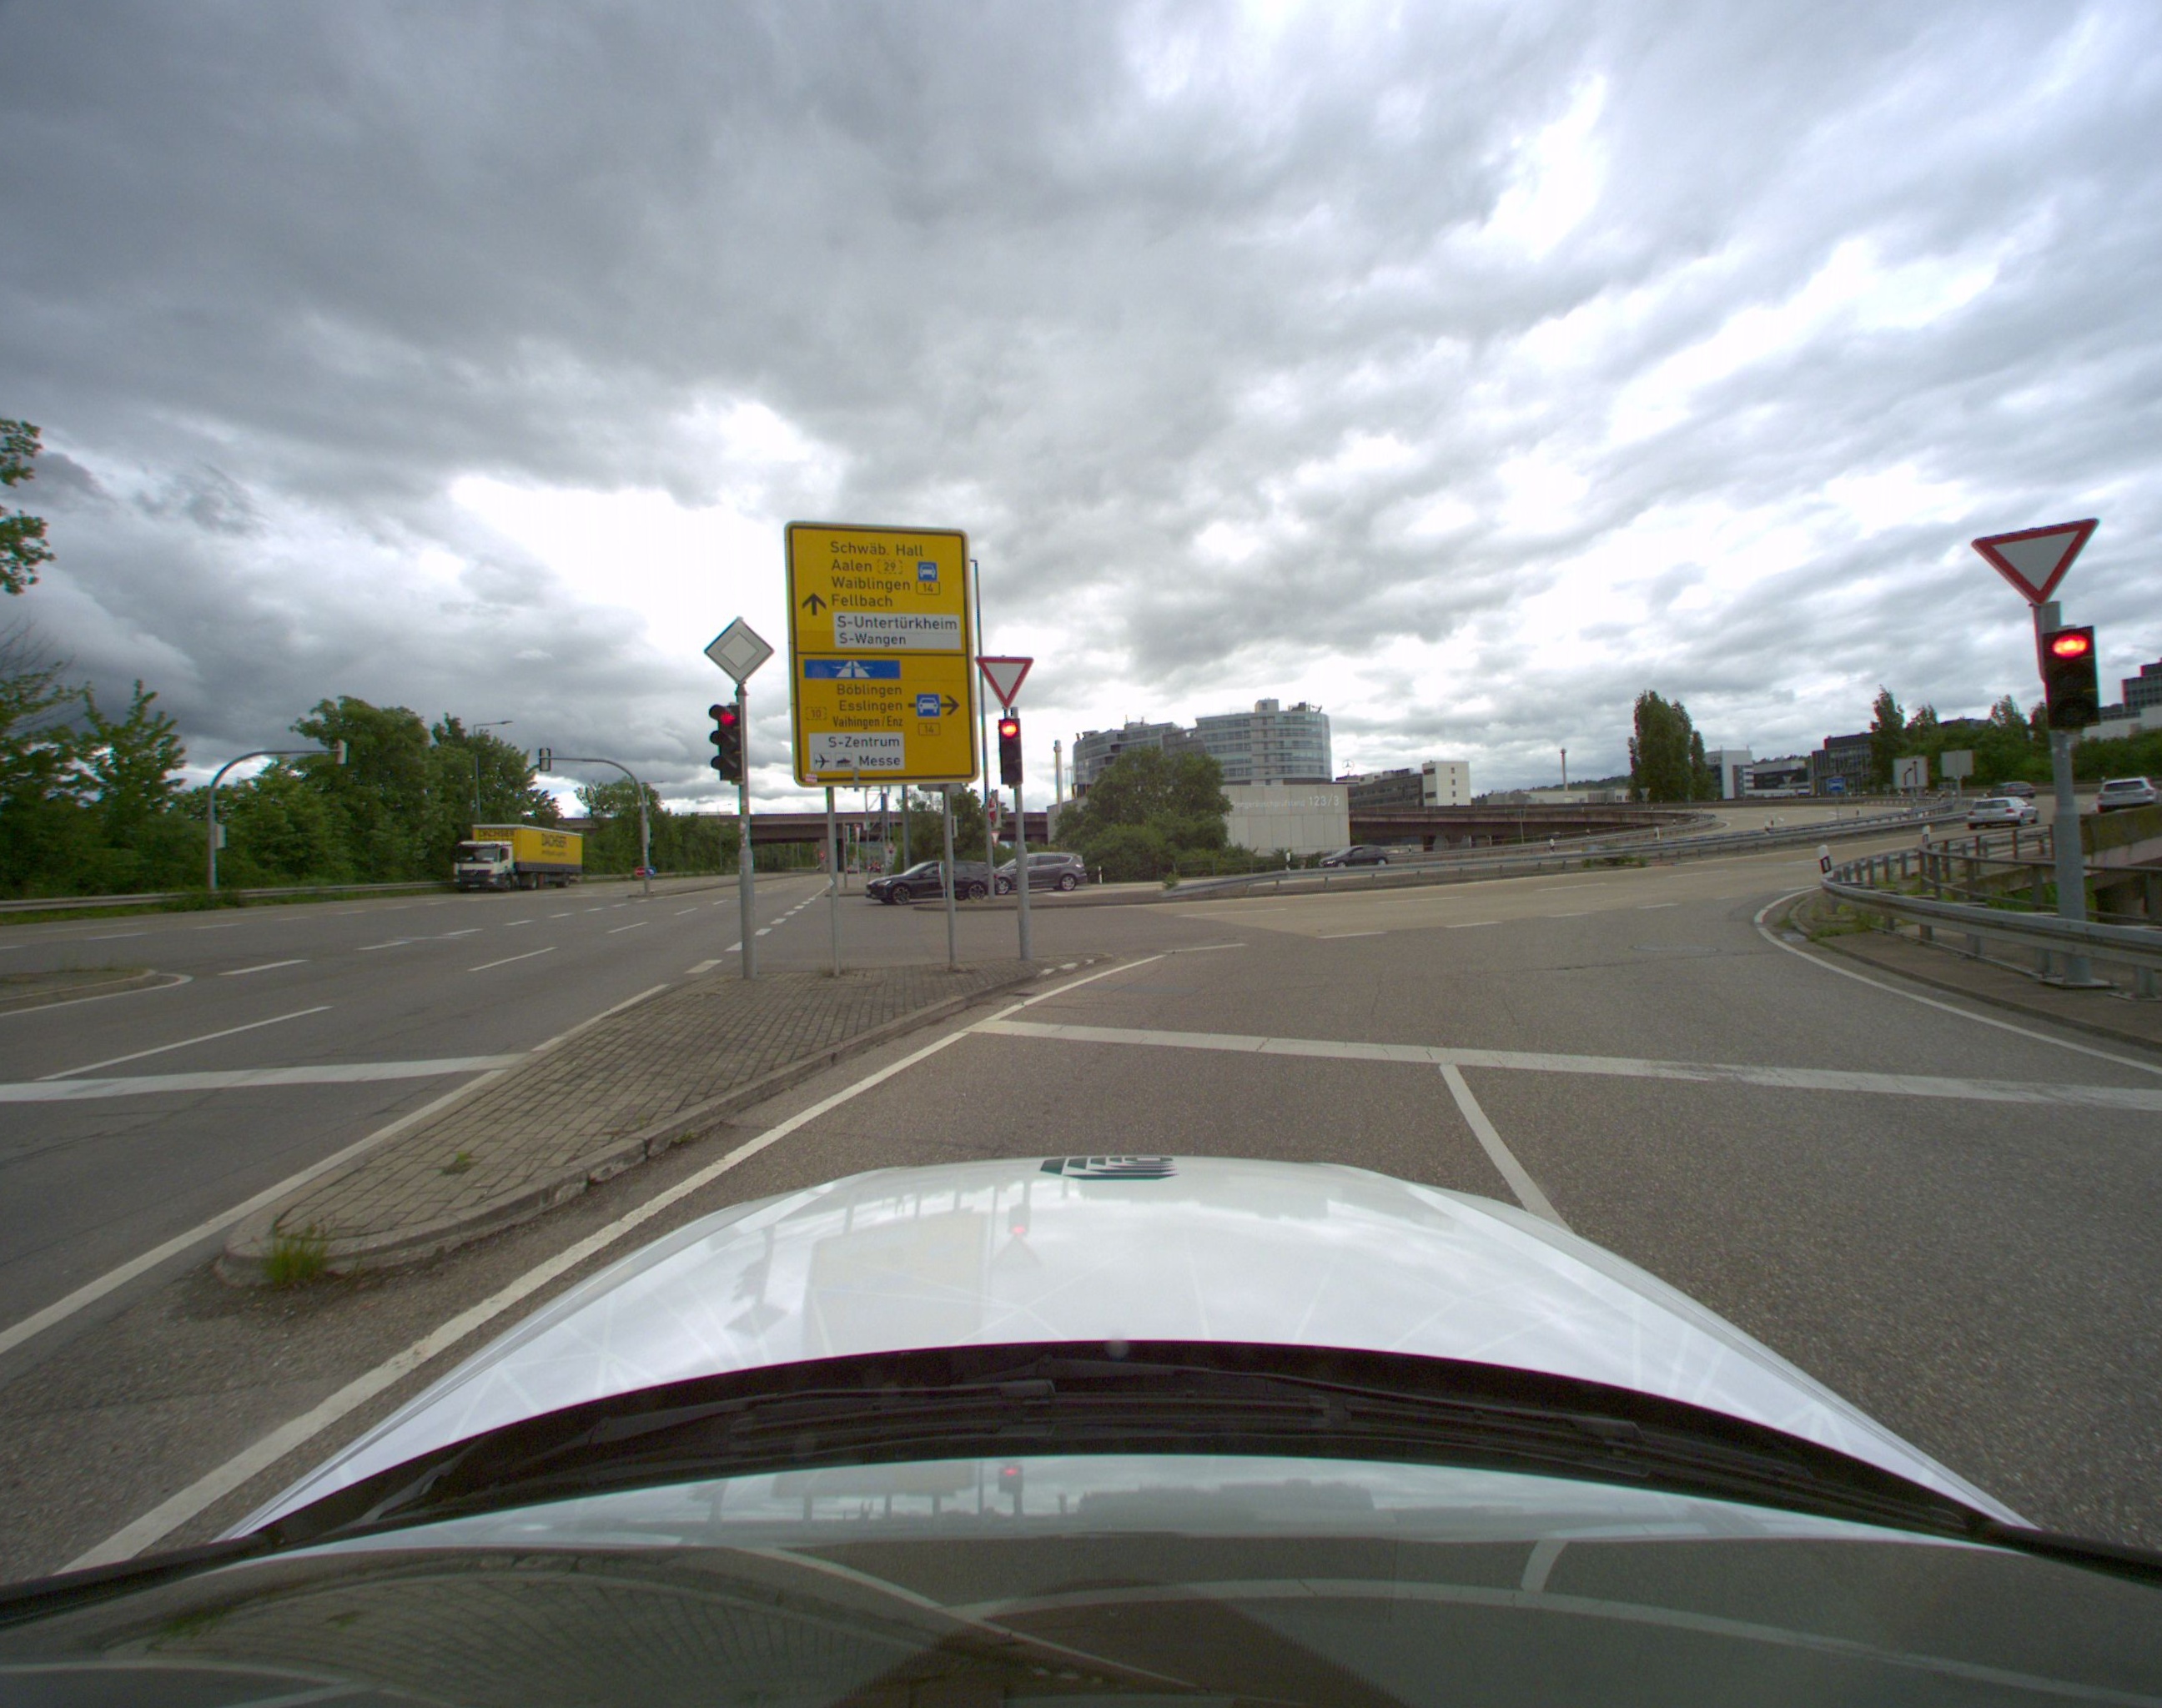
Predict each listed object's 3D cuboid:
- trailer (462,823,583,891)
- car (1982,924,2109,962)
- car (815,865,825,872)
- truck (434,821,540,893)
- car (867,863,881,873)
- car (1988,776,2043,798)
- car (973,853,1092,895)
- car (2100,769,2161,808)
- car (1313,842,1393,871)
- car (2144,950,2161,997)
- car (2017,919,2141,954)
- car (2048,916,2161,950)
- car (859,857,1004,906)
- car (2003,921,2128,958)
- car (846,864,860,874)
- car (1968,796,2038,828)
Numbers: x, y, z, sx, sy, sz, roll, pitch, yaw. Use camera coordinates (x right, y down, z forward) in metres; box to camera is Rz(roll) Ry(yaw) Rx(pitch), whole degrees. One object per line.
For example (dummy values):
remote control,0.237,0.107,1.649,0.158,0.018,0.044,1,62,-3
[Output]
trailer,-37.534,0.193,55.358,2.876,4.084,11.372,1,0,-14
car,48.147,4.408,40.732,1.832,1.354,3.827,-3,1,-29
car,-63.493,3.526,198.442,1.863,1.383,3.855,2,1,-11
truck,-36.240,0.183,49.993,2.875,4.084,6.457,1,0,-13
car,-32.991,2.253,129.735,1.998,1.464,4.085,0,-2,-17
car,78.309,-5.579,68.293,1.707,1.461,4.271,-4,-1,31
car,-2.082,0.805,34.665,4.692,1.571,1.944,-1,1,-18
car,52.075,-3.179,40.093,4.570,1.737,1.713,-2,0,-30
car,15.692,0.148,47.071,3.983,1.421,1.908,-3,1,-12
car,41.689,4.411,30.260,4.006,1.534,1.812,-3,1,-25
car,52.190,4.273,42.665,1.832,1.354,3.827,-3,1,-29
car,54.889,4.189,43.556,1.832,1.354,3.827,-3,1,-29
car,-5.209,0.893,28.528,4.633,1.457,1.938,-2,1,-29
car,50.303,4.320,41.685,1.832,1.354,3.827,-3,1,-29
car,-34.847,2.358,124.564,1.996,1.442,4.089,0,-2,-14
car,44.690,-2.011,39.443,4.082,1.400,1.712,-2,0,-34
